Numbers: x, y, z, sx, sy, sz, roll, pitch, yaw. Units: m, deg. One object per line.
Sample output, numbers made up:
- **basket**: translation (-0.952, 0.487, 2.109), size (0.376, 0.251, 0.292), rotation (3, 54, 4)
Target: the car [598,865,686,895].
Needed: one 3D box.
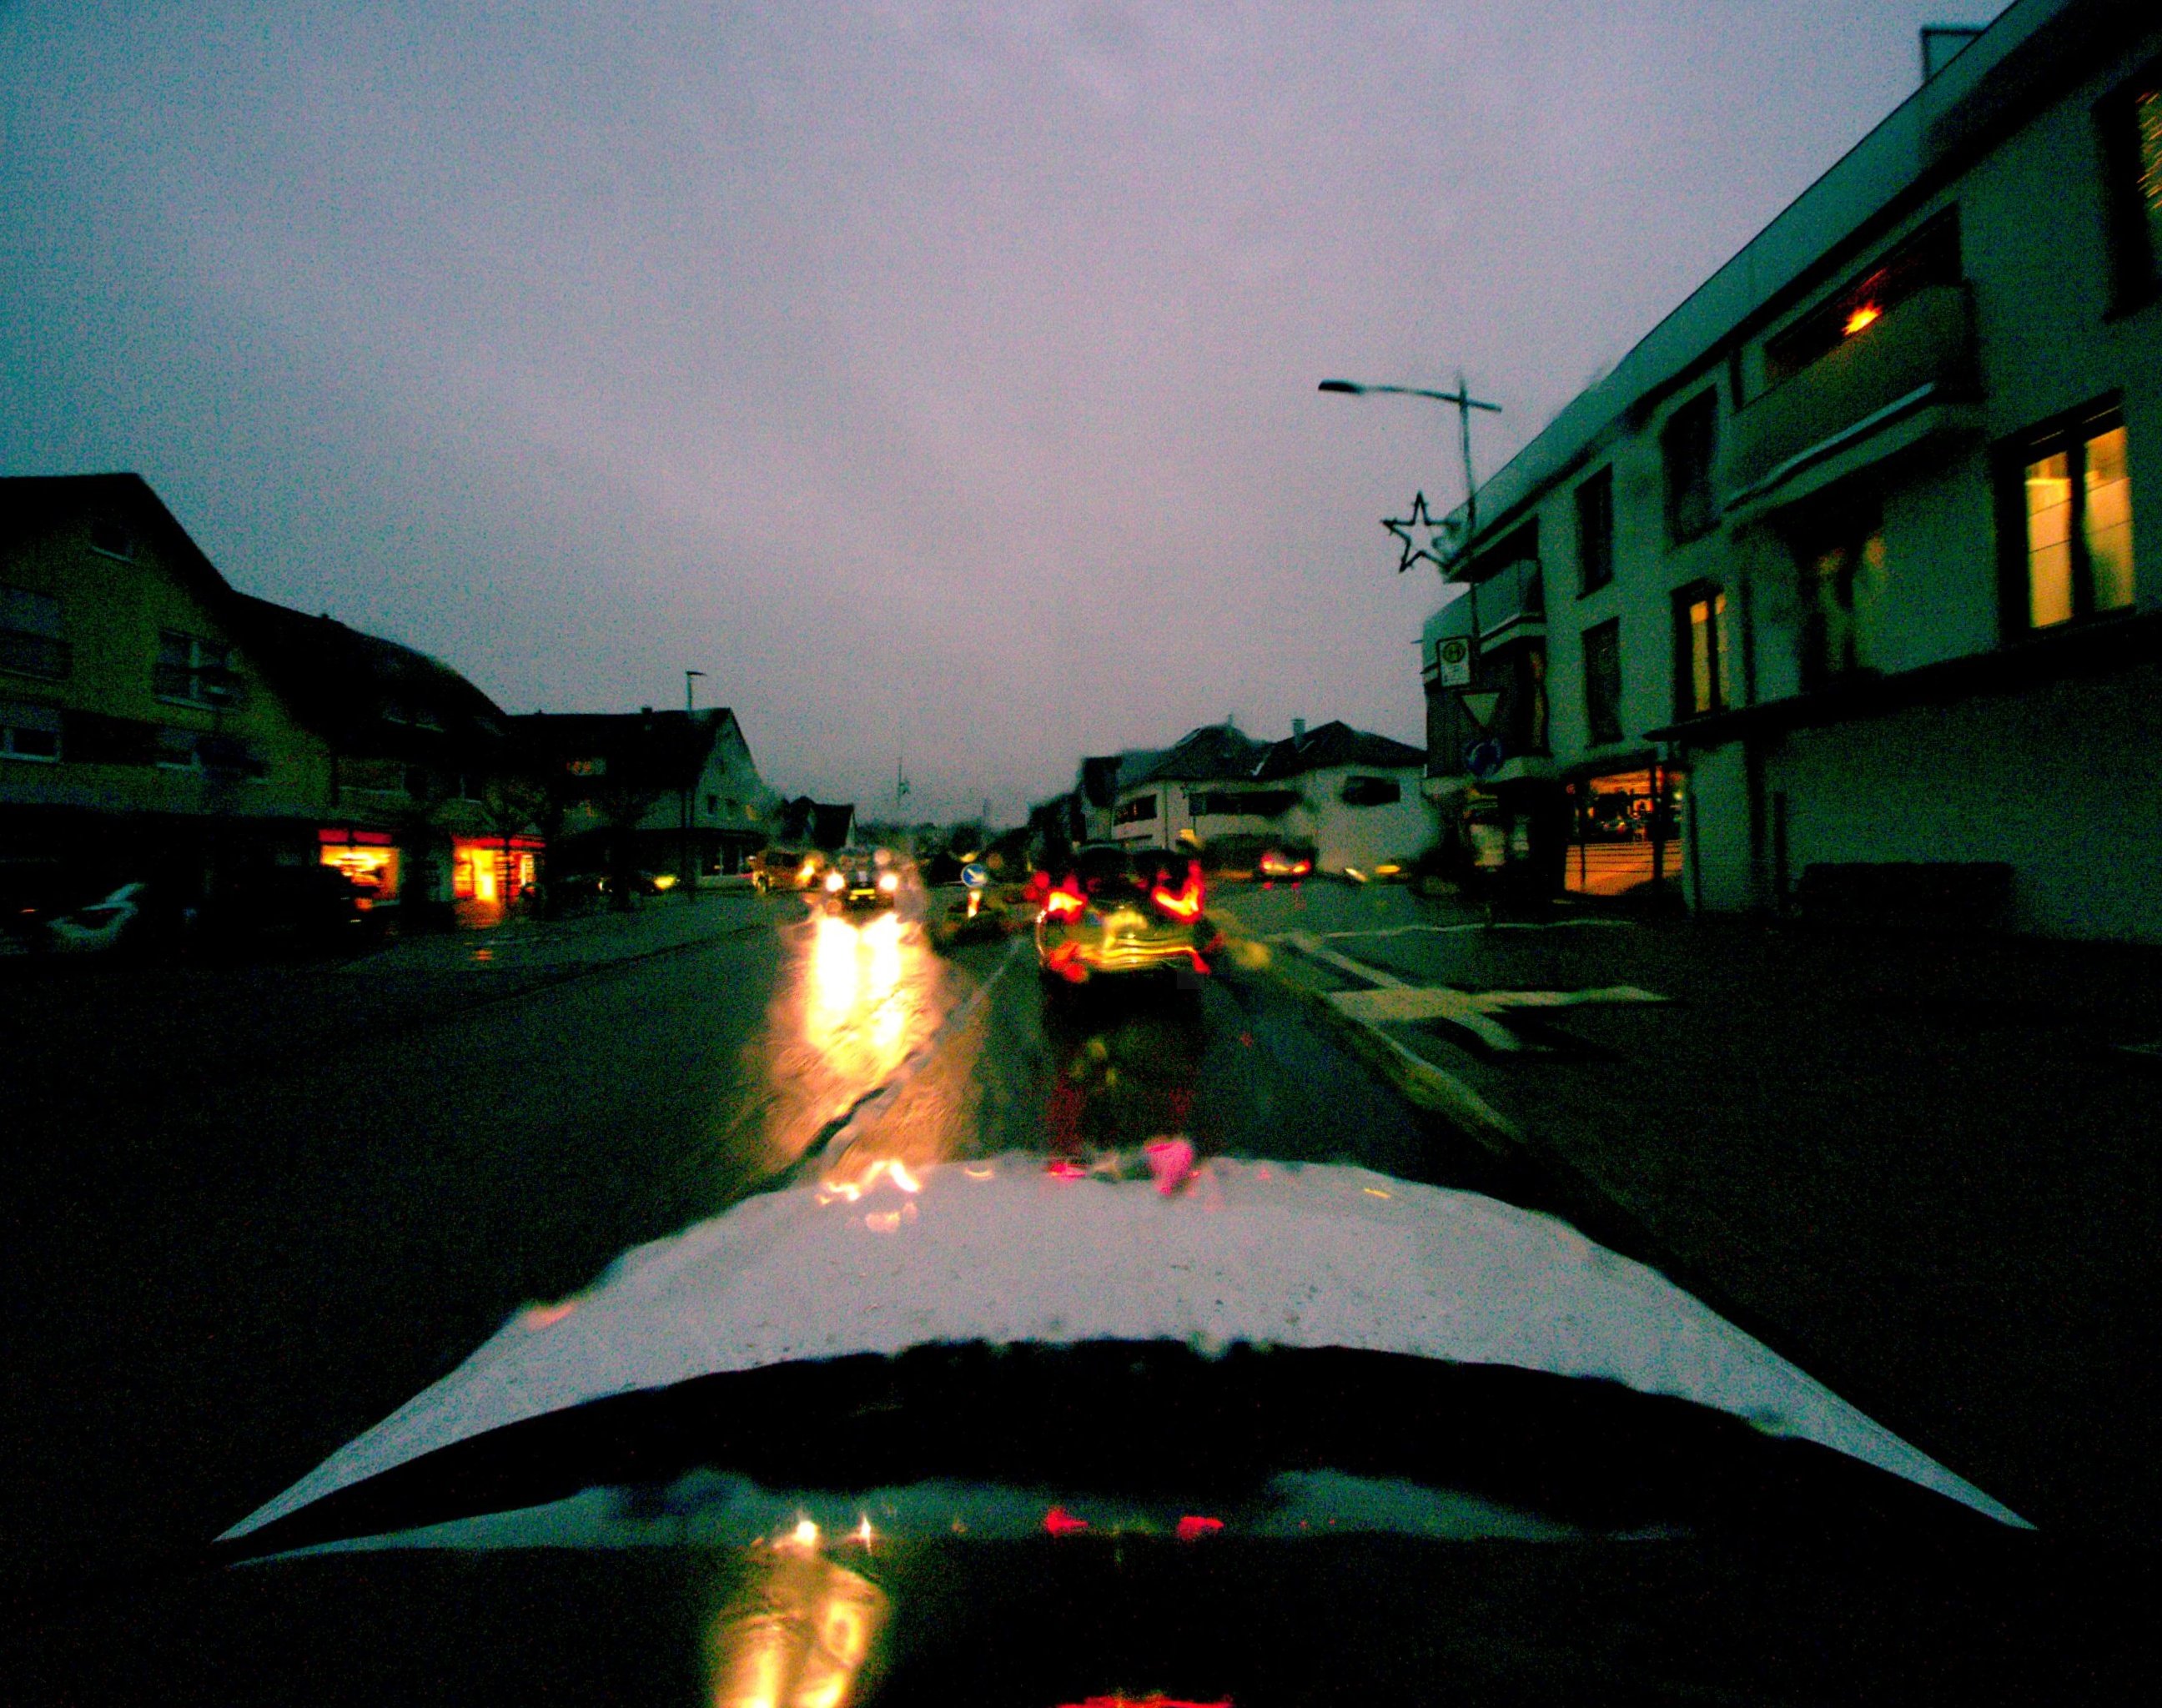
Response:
- **car**: translation (-22.730, 1.356, 42.216), size (3.802, 1.422, 1.721), rotation (-2, -3, 12)

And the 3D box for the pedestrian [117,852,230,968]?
- **pedestrian**: translation (-14.163, 0.846, 12.731), size (0.718, 1.711, 0.842), rotation (-3, 0, 4)

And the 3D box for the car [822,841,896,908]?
- **car**: translation (-6.695, 0.583, 24.289), size (1.725, 1.813, 4.107), rotation (0, -1, -21)

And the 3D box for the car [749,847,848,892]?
- **car**: translation (-13.227, 0.712, 38.011), size (4.836, 2.014, 2.013), rotation (-1, -1, 37)

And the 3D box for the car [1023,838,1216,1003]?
- **car**: translation (0.363, 0.657, 10.063), size (1.910, 1.615, 3.949), rotation (-1, 0, -1)

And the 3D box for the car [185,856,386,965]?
- **car**: translation (-13.216, 0.849, 13.812), size (1.923, 1.531, 4.133), rotation (-1, -1, -37)

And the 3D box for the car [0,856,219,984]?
- **car**: translation (-15.575, 0.954, 12.795), size (1.848, 1.670, 3.856), rotation (-4, 1, -33)

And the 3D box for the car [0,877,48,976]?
- **car**: translation (-18.469, 1.250, 12.494), size (1.770, 1.631, 3.962), rotation (-4, 1, -29)

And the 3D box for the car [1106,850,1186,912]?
- **car**: translation (1.878, 0.668, 22.372), size (1.766, 1.539, 3.943), rotation (-1, 0, 10)

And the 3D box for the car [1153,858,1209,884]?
- **car**: translation (5.799, 0.980, 47.570), size (1.650, 1.465, 3.974), rotation (-1, -1, -19)

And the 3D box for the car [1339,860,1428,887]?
- **car**: translation (16.648, 1.080, 44.993), size (4.208, 1.384, 1.849), rotation (0, -3, -1)

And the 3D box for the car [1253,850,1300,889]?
- **car**: translation (9.368, 0.718, 39.318), size (1.811, 1.628, 4.011), rotation (-3, 1, 9)
